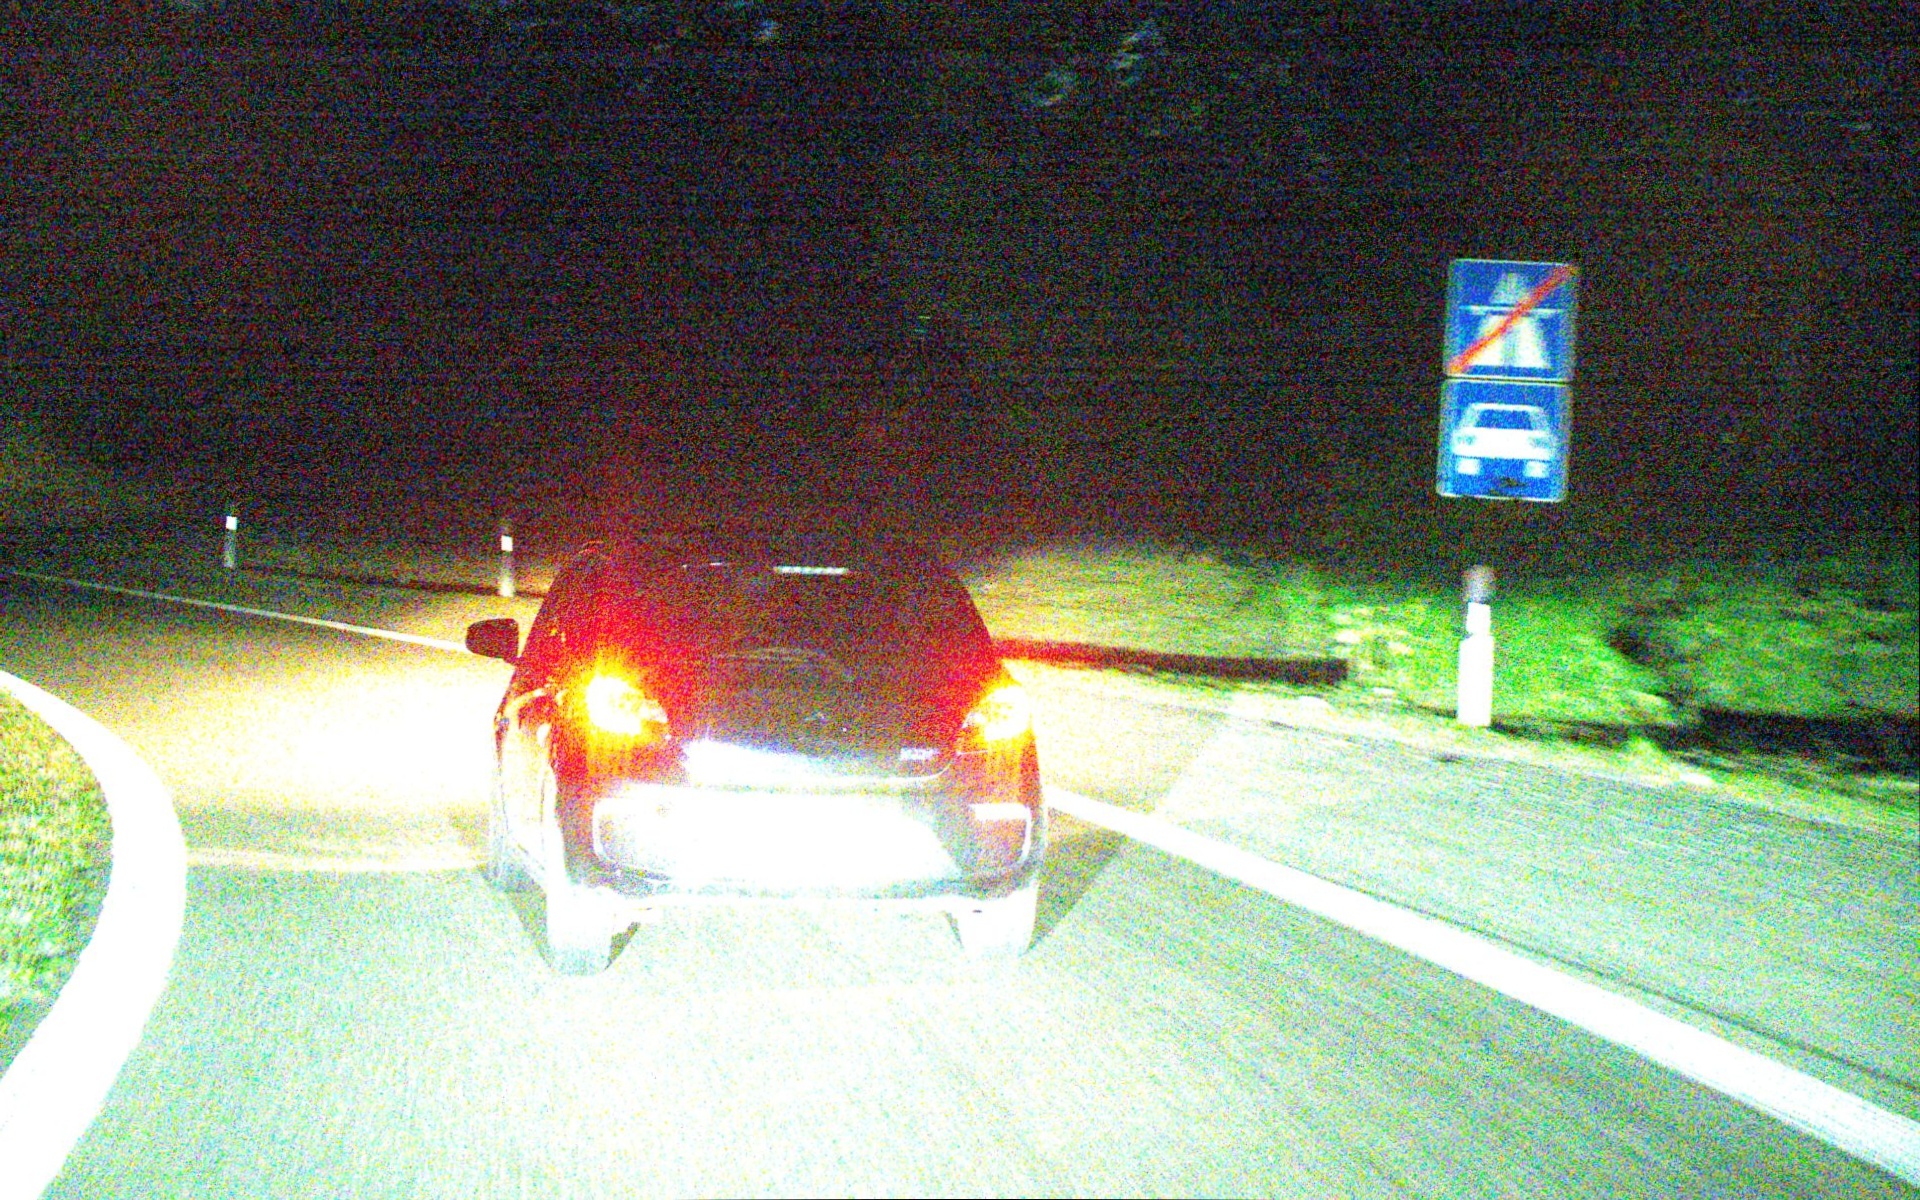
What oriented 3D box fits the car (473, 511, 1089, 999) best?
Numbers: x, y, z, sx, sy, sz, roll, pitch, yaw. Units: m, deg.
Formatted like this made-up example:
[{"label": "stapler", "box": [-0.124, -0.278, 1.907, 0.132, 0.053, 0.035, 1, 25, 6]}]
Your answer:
[{"label": "car", "box": [-0.822, 0.423, 12.723, 1.691, 1.472, 4.001, -1, 2, -11]}]
